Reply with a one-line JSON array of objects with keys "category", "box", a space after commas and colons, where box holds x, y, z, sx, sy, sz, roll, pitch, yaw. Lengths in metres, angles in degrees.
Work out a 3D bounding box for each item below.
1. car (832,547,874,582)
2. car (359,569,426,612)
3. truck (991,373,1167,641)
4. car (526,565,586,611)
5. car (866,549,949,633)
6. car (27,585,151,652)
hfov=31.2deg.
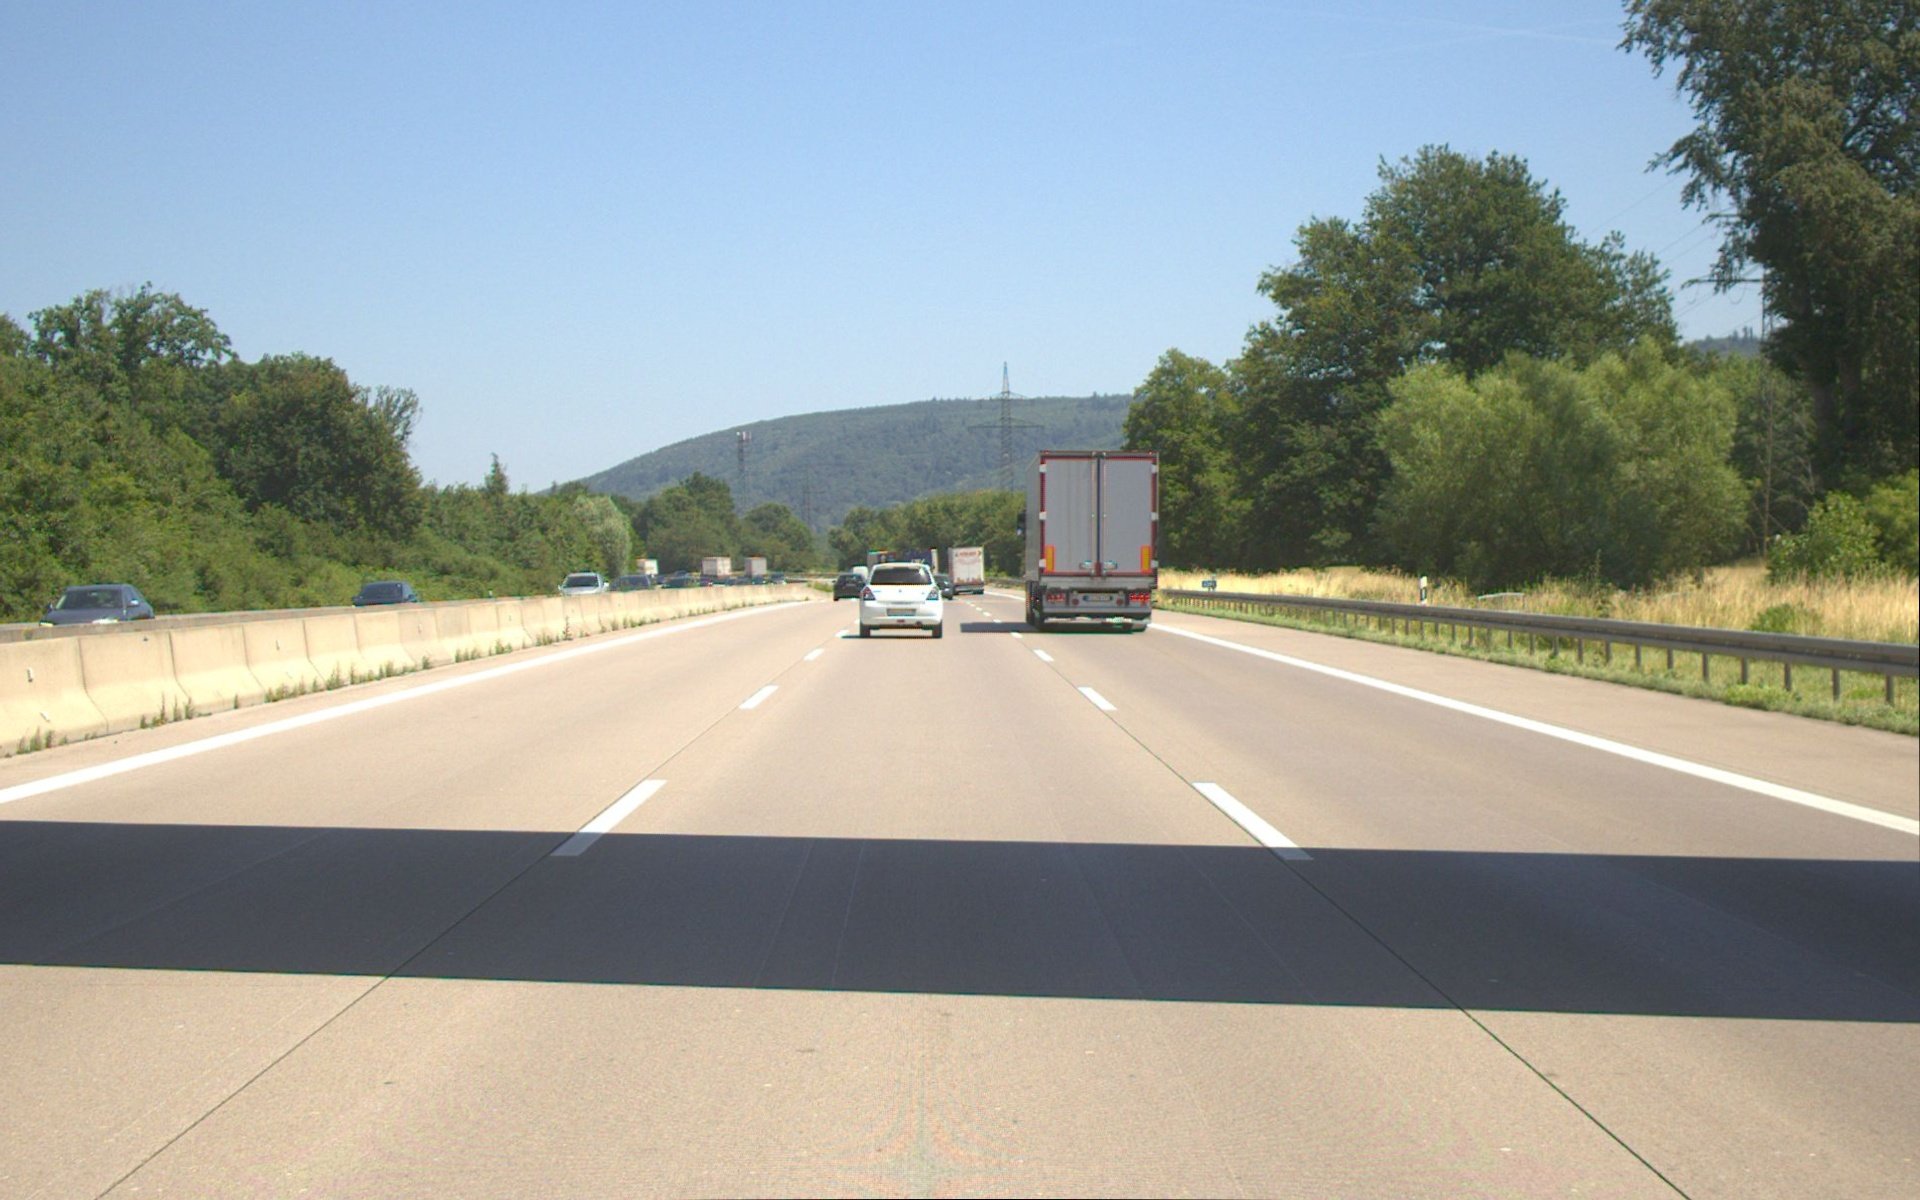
[{"category": "car", "box": [-5.527, -1.832, 177.803, 2.022, 1.695, 4.001, 1, 0, -3]}, {"category": "car", "box": [-18.012, -0.310, 109.215, 1.565, 1.315, 3.633, -1, 1, -1]}, {"category": "truck", "box": [2.649, -2.141, 83.260, 3.577, 5.767, 18.248, 0, 1, 0]}, {"category": "car", "box": [-15.326, -0.471, 130.689, 1.709, 1.672, 4.929, -1, 1, -1]}, {"category": "car", "box": [-1.062, -0.207, 70.142, 1.641, 1.656, 3.360, 1, 1, 0]}, {"category": "car", "box": [-18.366, 0.369, 72.654, 1.565, 1.315, 4.372, -1, 1, -1]}]
